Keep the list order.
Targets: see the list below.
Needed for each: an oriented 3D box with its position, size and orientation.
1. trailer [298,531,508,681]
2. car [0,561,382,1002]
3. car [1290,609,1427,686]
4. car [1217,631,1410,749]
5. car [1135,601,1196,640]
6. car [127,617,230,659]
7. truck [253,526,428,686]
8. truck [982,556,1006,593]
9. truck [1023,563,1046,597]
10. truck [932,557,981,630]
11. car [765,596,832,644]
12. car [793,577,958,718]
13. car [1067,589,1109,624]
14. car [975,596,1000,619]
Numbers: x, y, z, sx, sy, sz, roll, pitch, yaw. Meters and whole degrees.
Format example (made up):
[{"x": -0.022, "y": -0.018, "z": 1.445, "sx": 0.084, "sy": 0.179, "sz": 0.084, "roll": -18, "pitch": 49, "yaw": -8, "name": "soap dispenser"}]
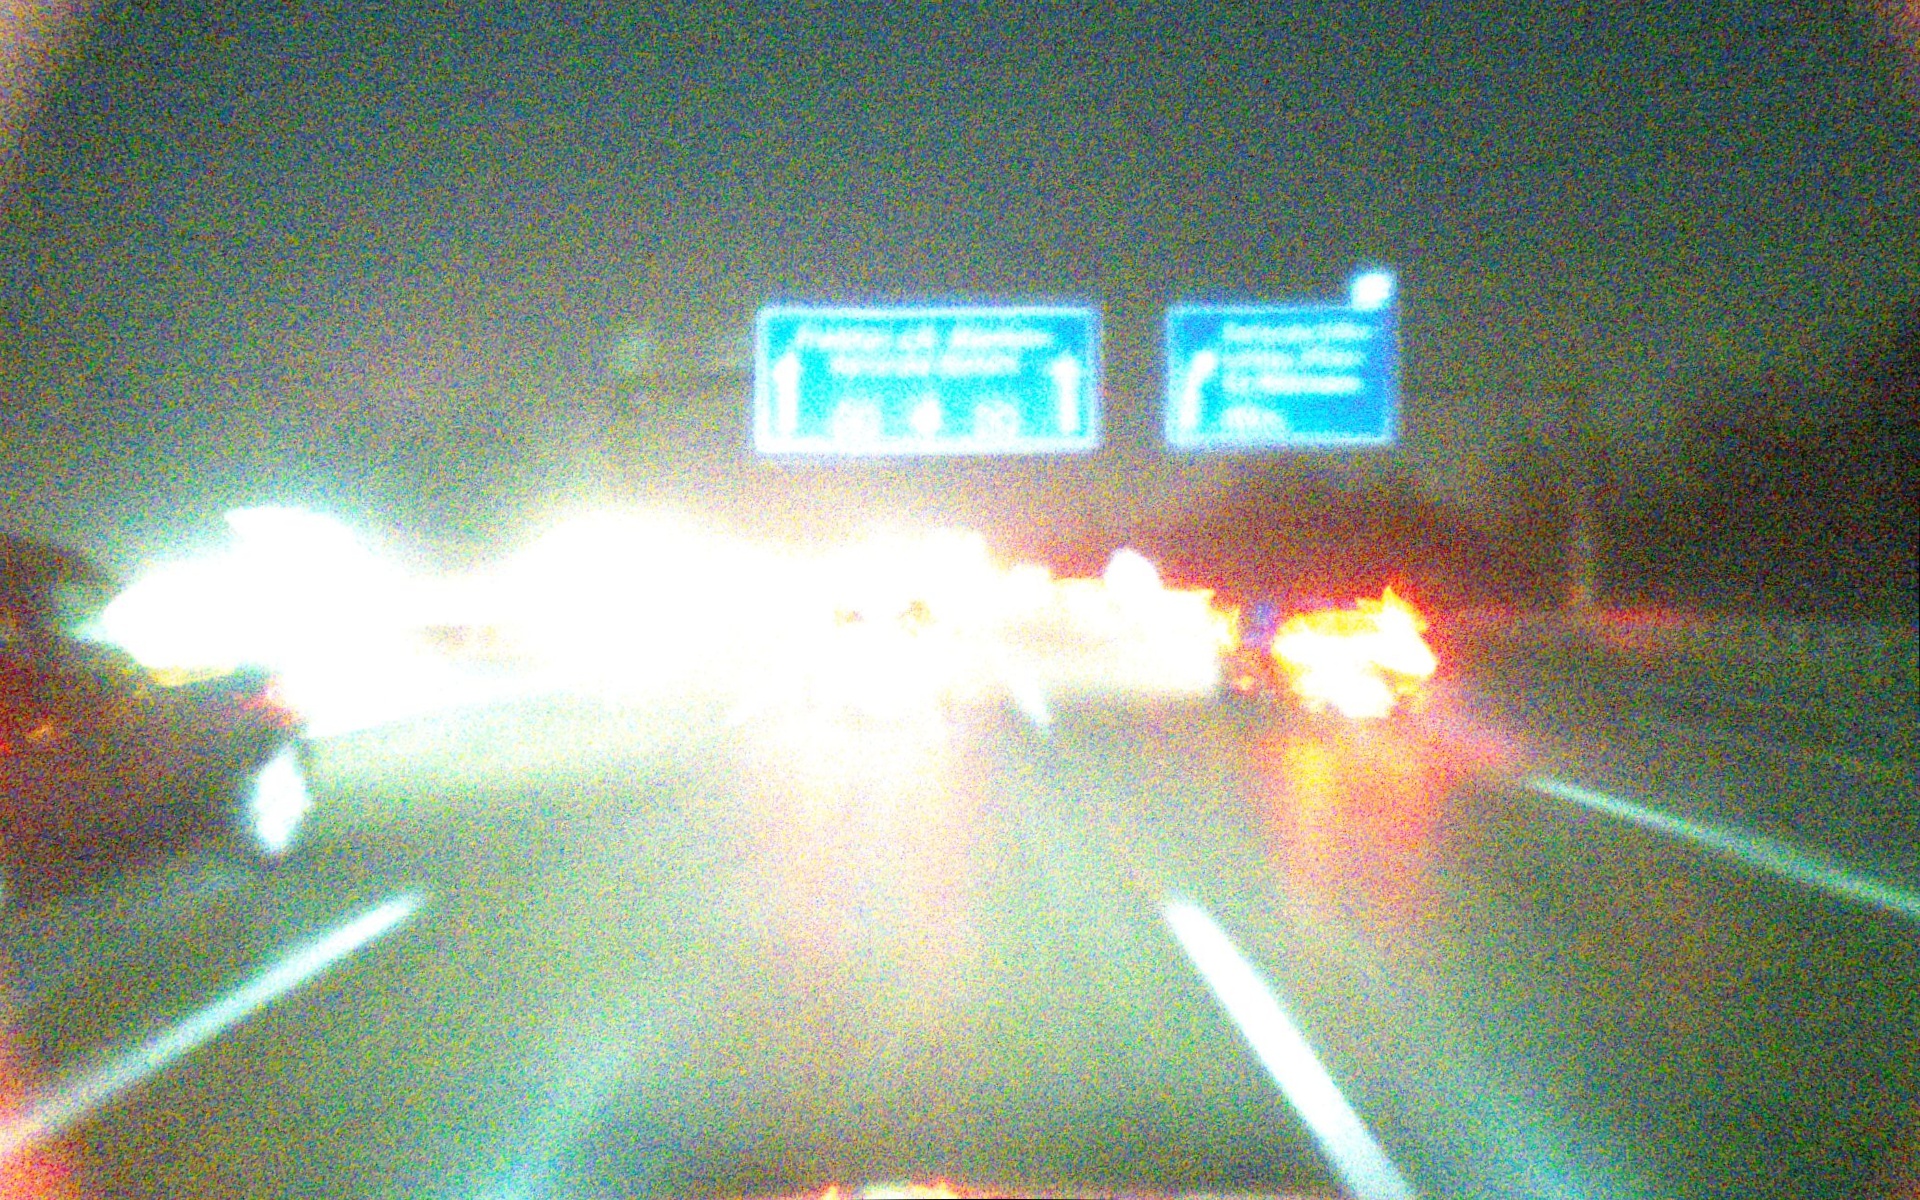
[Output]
[{"x": -20.864, "y": 0.219, "z": 63.362, "sx": 2.863, "sy": 4.934, "sz": 14.580, "roll": -3, "pitch": 0, "yaw": 0, "name": "trailer"}, {"x": -4.315, "y": 0.610, "z": 7.340, "sx": 1.820, "sy": 1.567, "sz": 4.751, "roll": 0, "pitch": 1, "yaw": 0, "name": "car"}, {"x": 7.104, "y": 0.826, "z": 29.728, "sx": 1.549, "sy": 1.268, "sz": 3.066, "roll": 1, "pitch": 0, "yaw": -4, "name": "car"}, {"x": 4.296, "y": 1.065, "z": 20.507, "sx": 1.549, "sy": 1.268, "sz": 3.066, "roll": 1, "pitch": 0, "yaw": -4, "name": "car"}, {"x": 7.060, "y": 0.693, "z": 57.045, "sx": 1.549, "sy": 1.268, "sz": 3.066, "roll": 1, "pitch": 0, "yaw": -4, "name": "car"}, {"x": -28.613, "y": 1.360, "z": 60.723, "sx": 1.528, "sy": 1.401, "sz": 4.593, "roll": -3, "pitch": 0, "yaw": 0, "name": "car"}, {"x": -20.883, "y": 0.204, "z": 56.251, "sx": 2.863, "sy": 4.934, "sz": 7.577, "roll": -3, "pitch": 0, "yaw": 0, "name": "truck"}, {"x": 3.030, "y": -2.235, "z": 146.442, "sx": 1.952, "sy": 3.095, "sz": 6.466, "roll": -3, "pitch": 0, "yaw": 1, "name": "truck"}, {"x": 7.305, "y": -1.942, "z": 162.672, "sx": 1.952, "sy": 3.095, "sz": 6.466, "roll": -3, "pitch": 0, "yaw": 1, "name": "truck"}, {"x": -0.117, "y": -0.267, "z": 75.330, "sx": 1.952, "sy": 3.095, "sz": 6.466, "roll": -3, "pitch": 0, "yaw": 1, "name": "truck"}, {"x": -4.640, "y": 0.577, "z": 47.912, "sx": 1.629, "sy": 1.258, "sz": 3.760, "roll": -3, "pitch": 0, "yaw": -2, "name": "car"}, {"x": -0.918, "y": 0.500, "z": 19.940, "sx": 1.765, "sy": 1.513, "sz": 4.000, "roll": 0, "pitch": 0, "yaw": 0, "name": "car"}, {"x": 6.240, "y": 0.290, "z": 81.045, "sx": 1.824, "sy": 1.646, "sz": 4.001, "roll": 1, "pitch": 0, "yaw": 1, "name": "car"}, {"x": 2.034, "y": 0.572, "z": 123.427, "sx": 1.824, "sy": 1.646, "sz": 4.001, "roll": 1, "pitch": 0, "yaw": 1, "name": "car"}]
